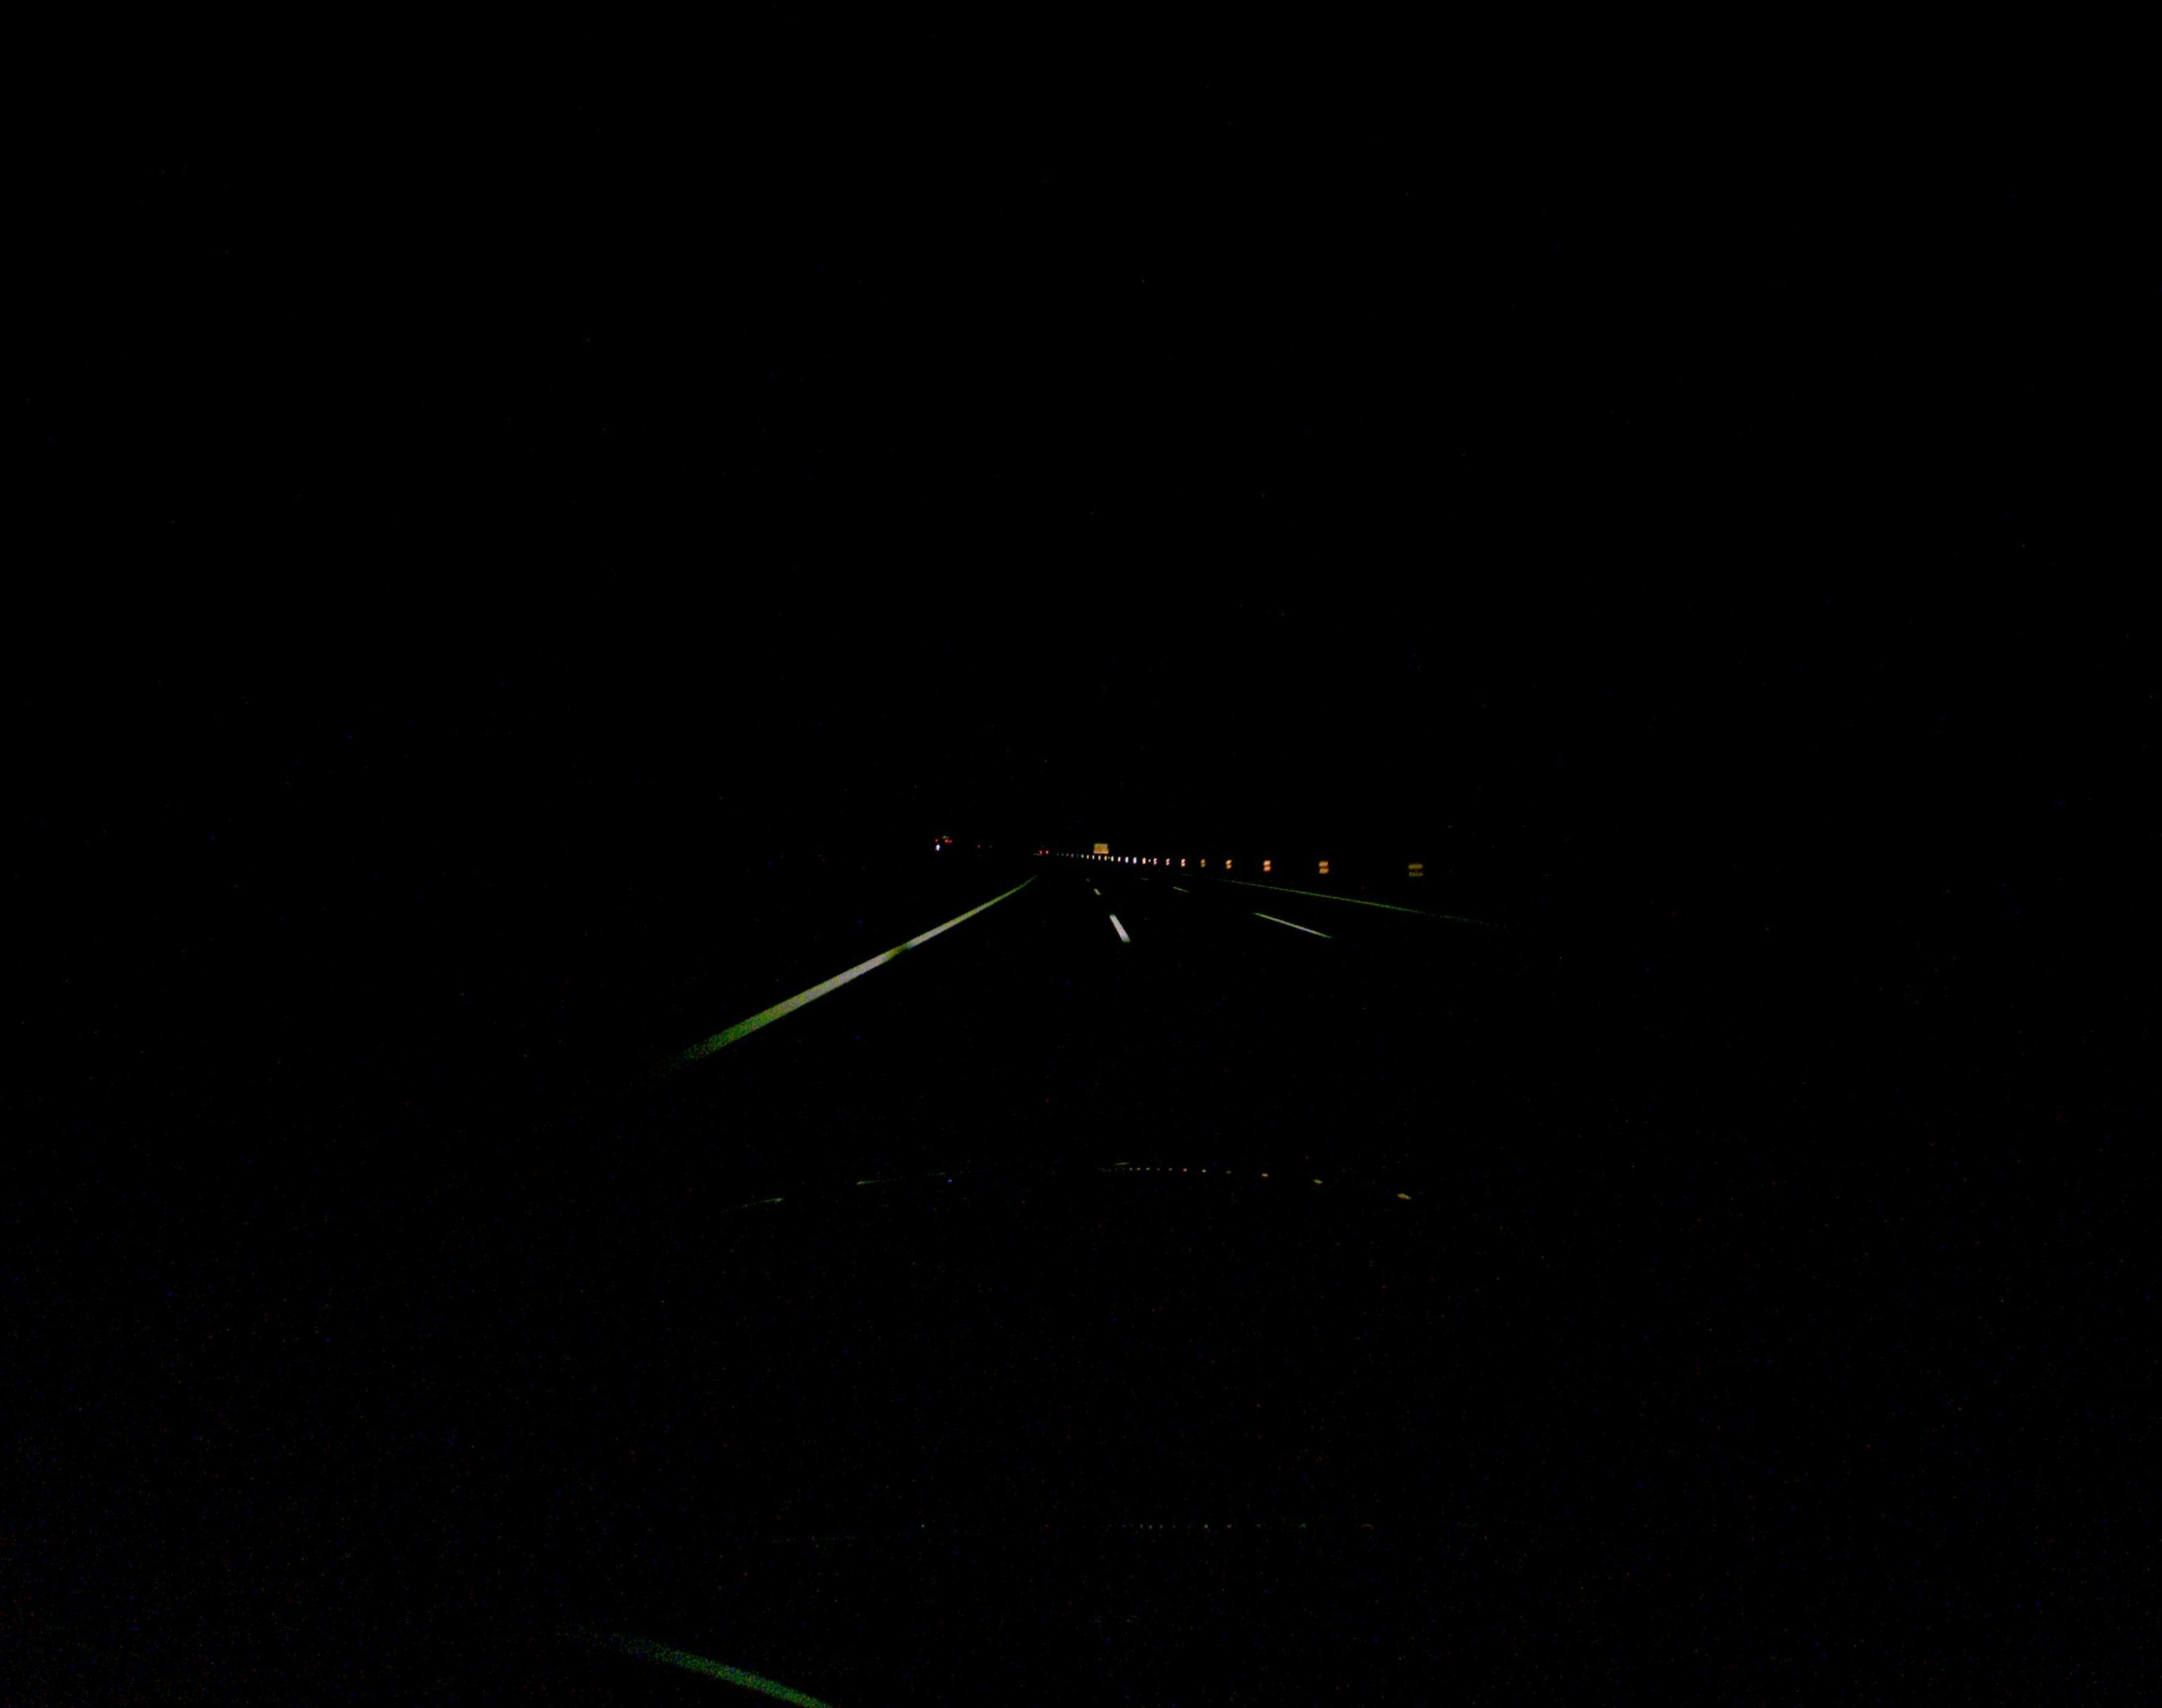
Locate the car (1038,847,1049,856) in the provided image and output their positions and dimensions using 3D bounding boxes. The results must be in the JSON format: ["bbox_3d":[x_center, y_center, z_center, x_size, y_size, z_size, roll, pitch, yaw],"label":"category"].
[{"bbox_3d":[-11.348,-0.663,246.160,2.529,2.553,6.028,1,1,-12],"label":"car"}]
